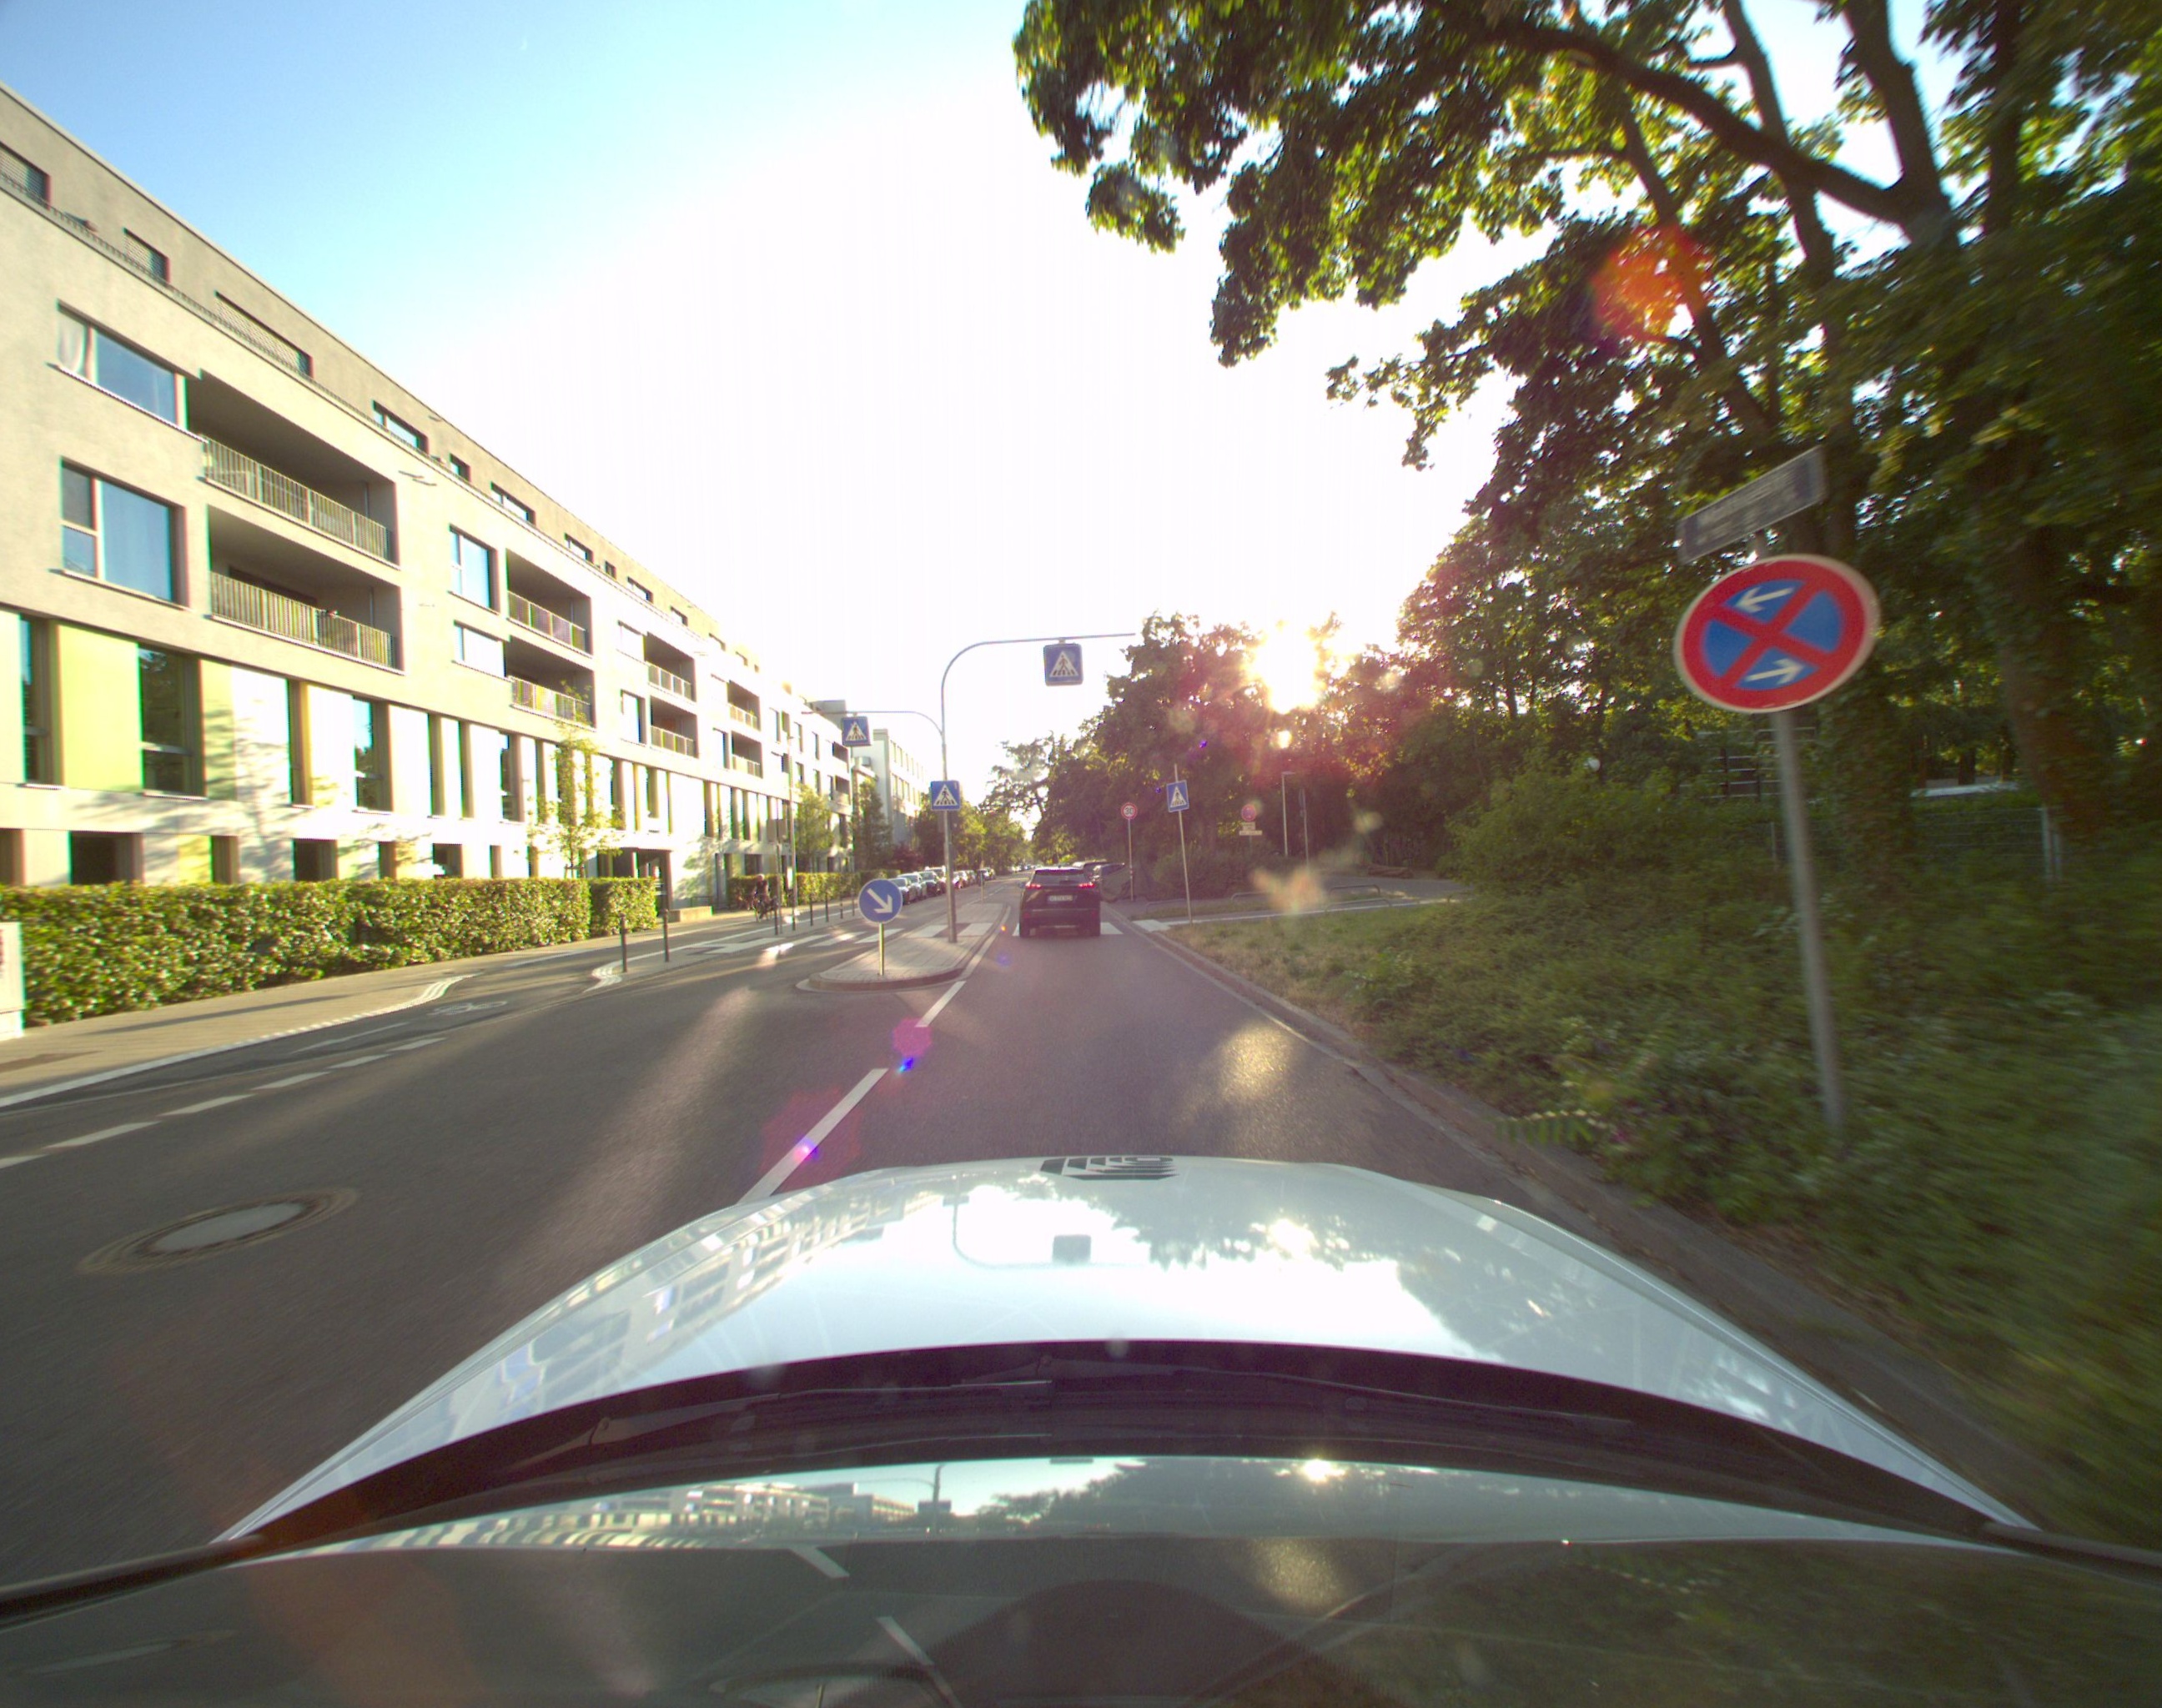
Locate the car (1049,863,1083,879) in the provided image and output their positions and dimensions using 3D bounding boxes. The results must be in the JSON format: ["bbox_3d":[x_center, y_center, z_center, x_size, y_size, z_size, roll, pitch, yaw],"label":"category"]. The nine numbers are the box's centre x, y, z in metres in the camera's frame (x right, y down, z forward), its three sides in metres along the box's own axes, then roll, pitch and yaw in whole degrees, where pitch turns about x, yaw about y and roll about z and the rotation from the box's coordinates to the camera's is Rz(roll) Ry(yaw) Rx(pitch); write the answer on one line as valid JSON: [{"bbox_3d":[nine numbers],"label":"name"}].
[{"bbox_3d":[-1.907,2.071,100.724,4.113,1.667,1.721,-3,-1,-3],"label":"car"}]

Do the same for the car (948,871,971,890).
[{"bbox_3d":[-11.015,2.392,73.835,1.595,1.455,4.049,-4,0,-4],"label":"car"}]

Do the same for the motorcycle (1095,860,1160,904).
[{"bbox_3d":[1.783,1.059,31.045,2.279,1.545,1.042,-4,-1,8],"label":"motorcycle"}]

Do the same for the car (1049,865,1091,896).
[{"bbox_3d":[-0.652,1.455,45.268,1.650,1.567,4.287,-3,-1,-9],"label":"car"}]

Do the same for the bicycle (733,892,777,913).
[{"bbox_3d":[-15.243,2.257,38.111,1.748,0.918,0.616,-2,-1,-5],"label":"bicycle"}]

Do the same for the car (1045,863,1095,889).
[{"bbox_3d":[-0.856,1.624,61.556,3.605,1.525,1.668,-6,0,-5],"label":"car"}]

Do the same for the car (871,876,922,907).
[{"bbox_3d":[-9.460,1.914,42.071,1.738,1.356,4.391,-4,-1,-3],"label":"car"}]

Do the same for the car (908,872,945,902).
[{"bbox_3d":[-9.944,2.093,52.683,1.739,1.676,4.410,-4,0,-4],"label":"car"}]

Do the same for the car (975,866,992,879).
[{"bbox_3d":[-12.134,2.298,101.153,1.667,1.494,4.057,-3,-1,-2],"label":"car"}]

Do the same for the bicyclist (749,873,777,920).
[{"bbox_3d":[-11.641,1.548,29.833,0.624,1.644,0.758,-3,-1,2],"label":"bicyclist"}]

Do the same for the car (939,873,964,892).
[{"bbox_3d":[-10.768,2.330,67.939,1.595,1.455,3.856,-3,-1,-4],"label":"car"}]

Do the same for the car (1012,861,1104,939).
[{"bbox_3d":[-0.621,0.974,18.566,1.766,1.568,3.372,-1,-1,-7],"label":"car"}]

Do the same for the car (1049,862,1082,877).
[{"bbox_3d":[-1.951,1.959,105.465,4.155,1.710,1.867,-2,-1,1],"label":"car"}]

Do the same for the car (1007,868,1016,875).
[{"bbox_3d":[-16.243,4.036,189.712,1.809,1.354,3.989,-3,-1,-8],"label":"car"}]

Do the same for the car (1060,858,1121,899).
[{"bbox_3d":[0.362,1.177,39.427,1.923,1.748,4.647,-3,-1,-12],"label":"car"}]

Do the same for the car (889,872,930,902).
[{"bbox_3d":[-9.883,1.855,47.235,1.739,1.534,4.108,-4,-1,-5],"label":"car"}]

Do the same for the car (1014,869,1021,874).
[{"bbox_3d":[-17.839,4.856,229.718,1.808,1.354,3.969,-3,-1,-7],"label":"car"}]

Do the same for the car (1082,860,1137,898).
[{"bbox_3d":[1.184,1.076,35.323,1.620,1.486,3.407,-3,-1,-10],"label":"car"}]

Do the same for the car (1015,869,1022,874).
[{"bbox_3d":[-18.428,5.016,239.757,1.808,1.354,3.991,-3,-1,-7],"label":"car"}]

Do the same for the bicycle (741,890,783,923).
[{"bbox_3d":[-11.626,1.903,29.740,0.631,1.078,1.884,-3,-1,2],"label":"bicycle"}]

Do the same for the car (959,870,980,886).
[{"bbox_3d":[-11.332,2.414,83.095,1.597,1.493,3.769,-4,0,-2],"label":"car"}]
